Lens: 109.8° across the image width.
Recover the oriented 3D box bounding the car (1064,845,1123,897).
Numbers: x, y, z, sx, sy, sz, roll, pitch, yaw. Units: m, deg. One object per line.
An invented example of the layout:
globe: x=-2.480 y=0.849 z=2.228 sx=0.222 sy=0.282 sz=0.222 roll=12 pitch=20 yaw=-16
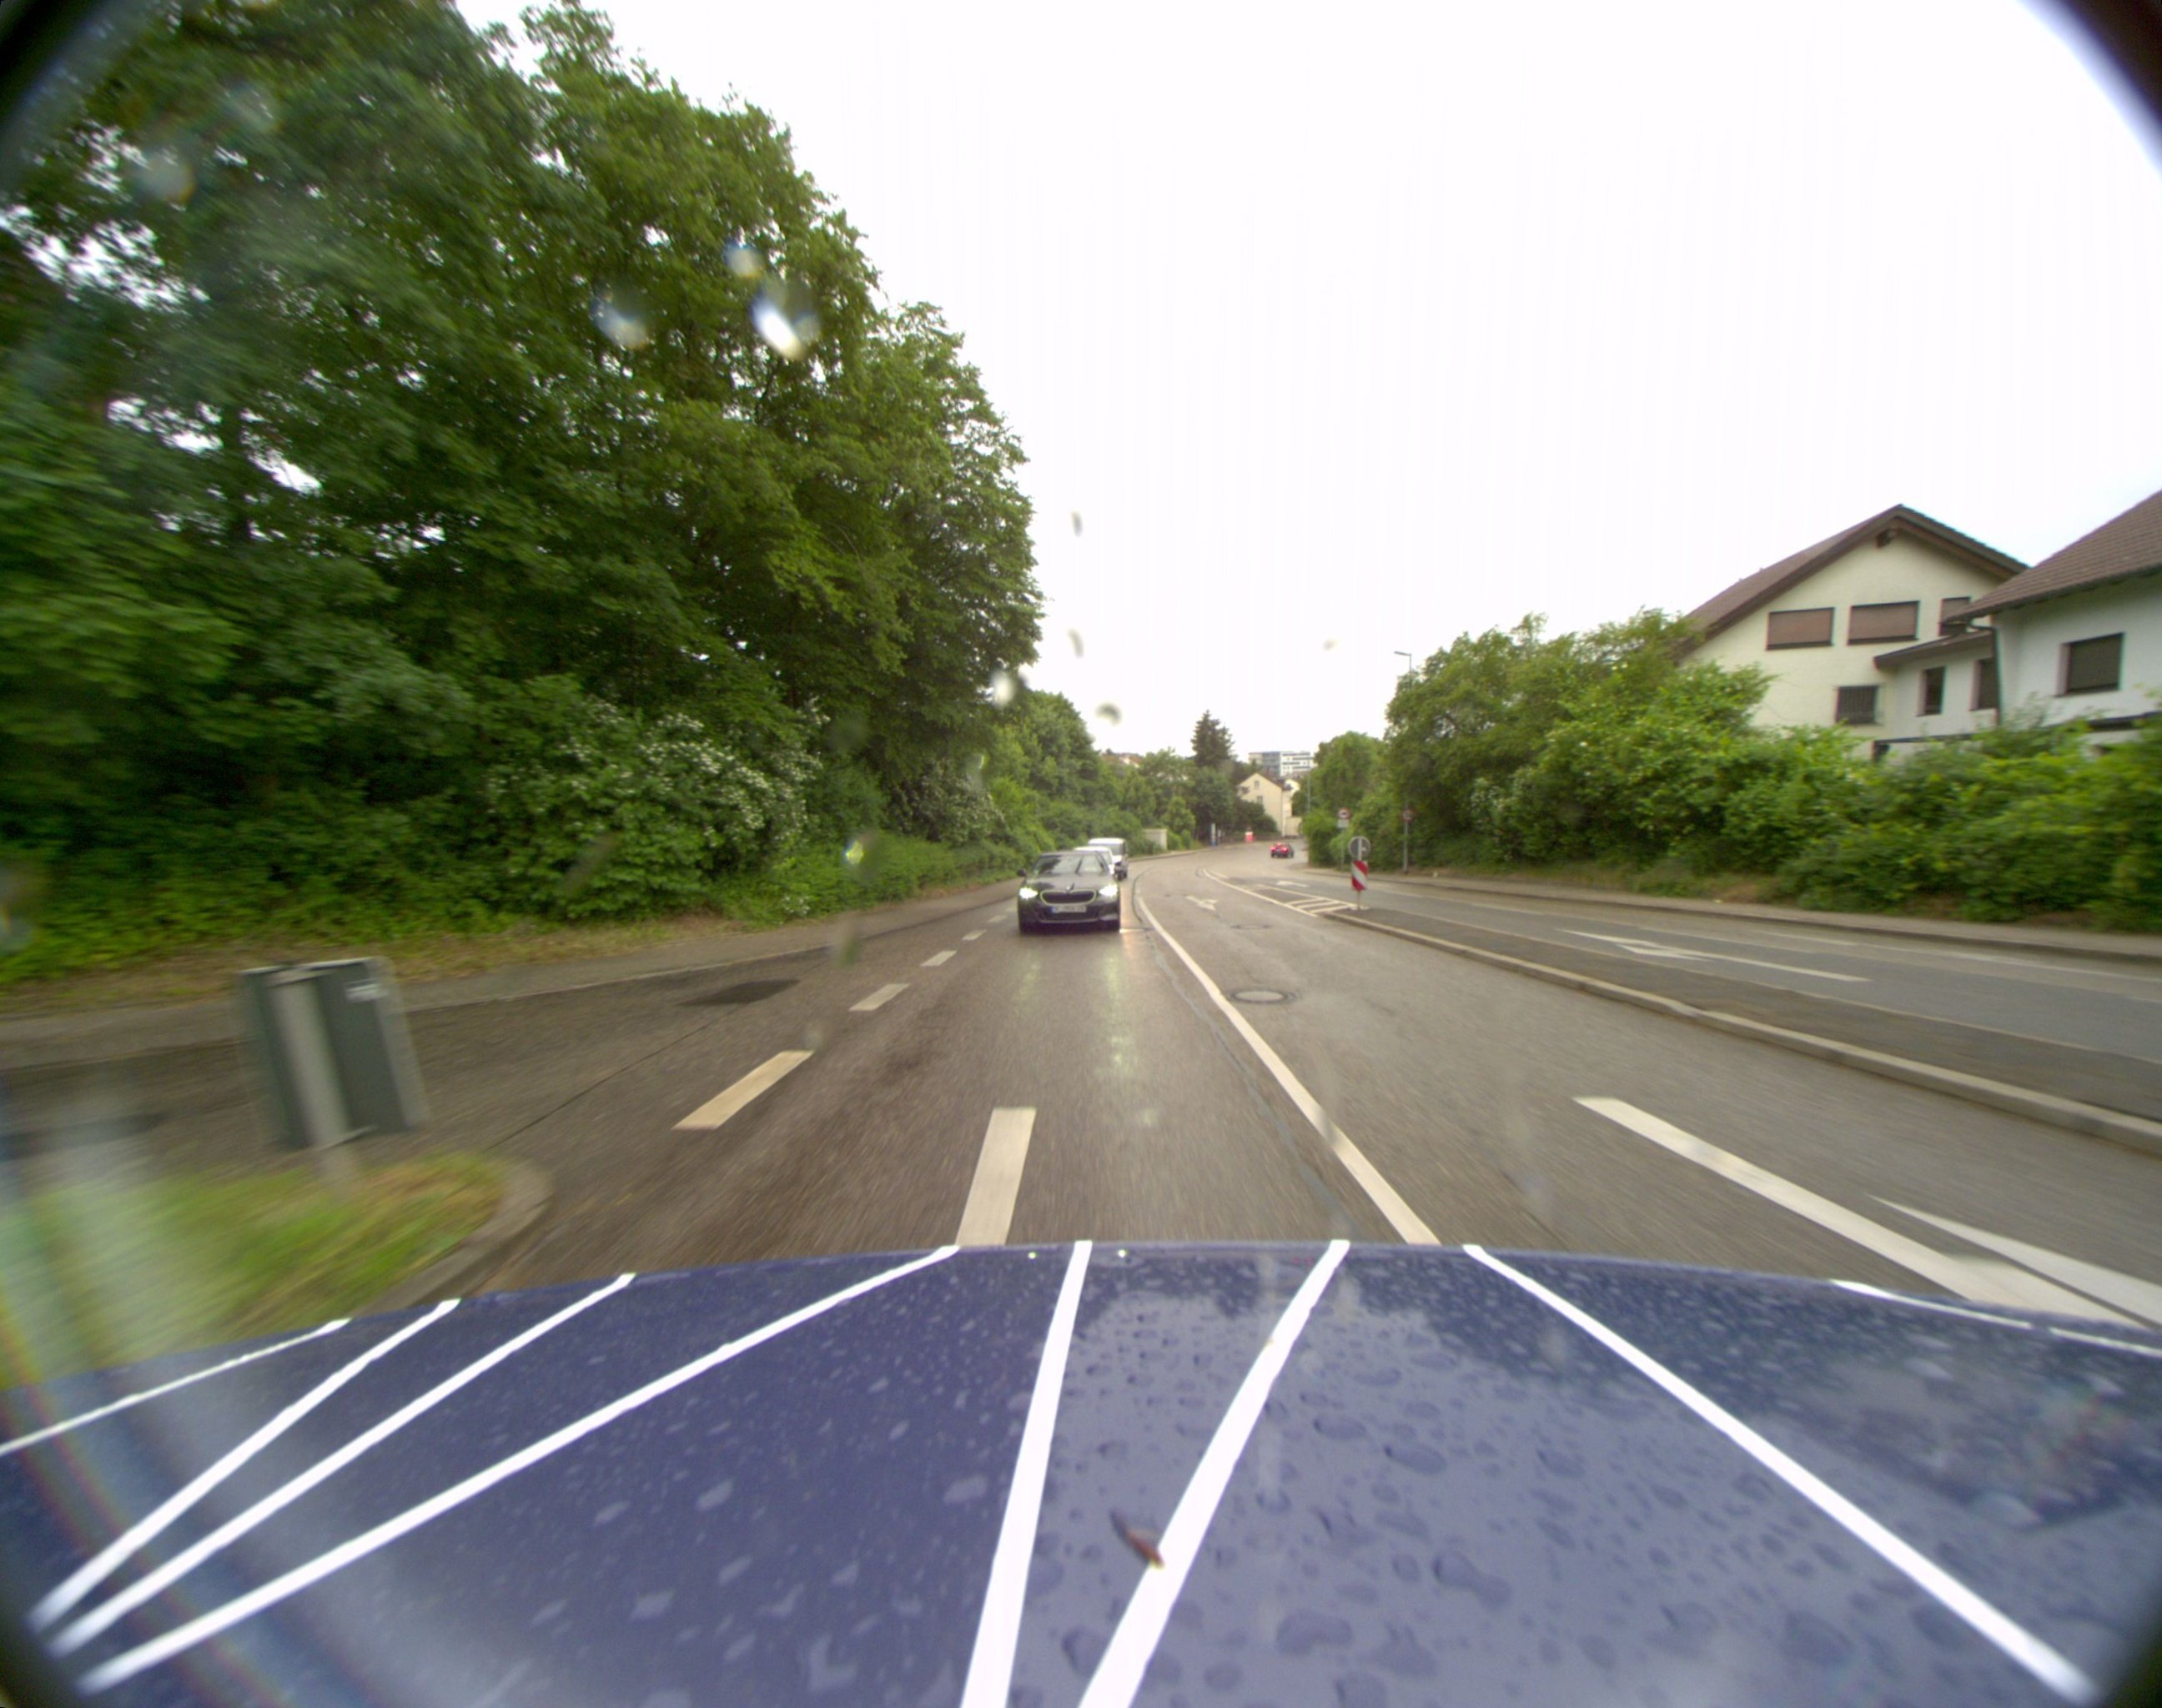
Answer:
car: x=0.437 y=0.506 z=25.443 sx=1.814 sy=1.547 sz=4.119 roll=0 pitch=1 yaw=2

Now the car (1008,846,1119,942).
car: x=-0.240 y=0.657 z=14.952 sx=1.867 sy=1.547 sz=4.118 roll=0 pitch=2 yaw=2

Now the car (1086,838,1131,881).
car: x=1.287 y=0.186 z=34.182 sx=1.813 sy=1.797 sz=4.120 roll=0 pitch=1 yaw=5

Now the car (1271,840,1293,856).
car: x=24.795 y=-0.742 z=93.828 sx=1.957 sy=1.835 sz=4.006 roll=2 pitch=1 yaw=24
